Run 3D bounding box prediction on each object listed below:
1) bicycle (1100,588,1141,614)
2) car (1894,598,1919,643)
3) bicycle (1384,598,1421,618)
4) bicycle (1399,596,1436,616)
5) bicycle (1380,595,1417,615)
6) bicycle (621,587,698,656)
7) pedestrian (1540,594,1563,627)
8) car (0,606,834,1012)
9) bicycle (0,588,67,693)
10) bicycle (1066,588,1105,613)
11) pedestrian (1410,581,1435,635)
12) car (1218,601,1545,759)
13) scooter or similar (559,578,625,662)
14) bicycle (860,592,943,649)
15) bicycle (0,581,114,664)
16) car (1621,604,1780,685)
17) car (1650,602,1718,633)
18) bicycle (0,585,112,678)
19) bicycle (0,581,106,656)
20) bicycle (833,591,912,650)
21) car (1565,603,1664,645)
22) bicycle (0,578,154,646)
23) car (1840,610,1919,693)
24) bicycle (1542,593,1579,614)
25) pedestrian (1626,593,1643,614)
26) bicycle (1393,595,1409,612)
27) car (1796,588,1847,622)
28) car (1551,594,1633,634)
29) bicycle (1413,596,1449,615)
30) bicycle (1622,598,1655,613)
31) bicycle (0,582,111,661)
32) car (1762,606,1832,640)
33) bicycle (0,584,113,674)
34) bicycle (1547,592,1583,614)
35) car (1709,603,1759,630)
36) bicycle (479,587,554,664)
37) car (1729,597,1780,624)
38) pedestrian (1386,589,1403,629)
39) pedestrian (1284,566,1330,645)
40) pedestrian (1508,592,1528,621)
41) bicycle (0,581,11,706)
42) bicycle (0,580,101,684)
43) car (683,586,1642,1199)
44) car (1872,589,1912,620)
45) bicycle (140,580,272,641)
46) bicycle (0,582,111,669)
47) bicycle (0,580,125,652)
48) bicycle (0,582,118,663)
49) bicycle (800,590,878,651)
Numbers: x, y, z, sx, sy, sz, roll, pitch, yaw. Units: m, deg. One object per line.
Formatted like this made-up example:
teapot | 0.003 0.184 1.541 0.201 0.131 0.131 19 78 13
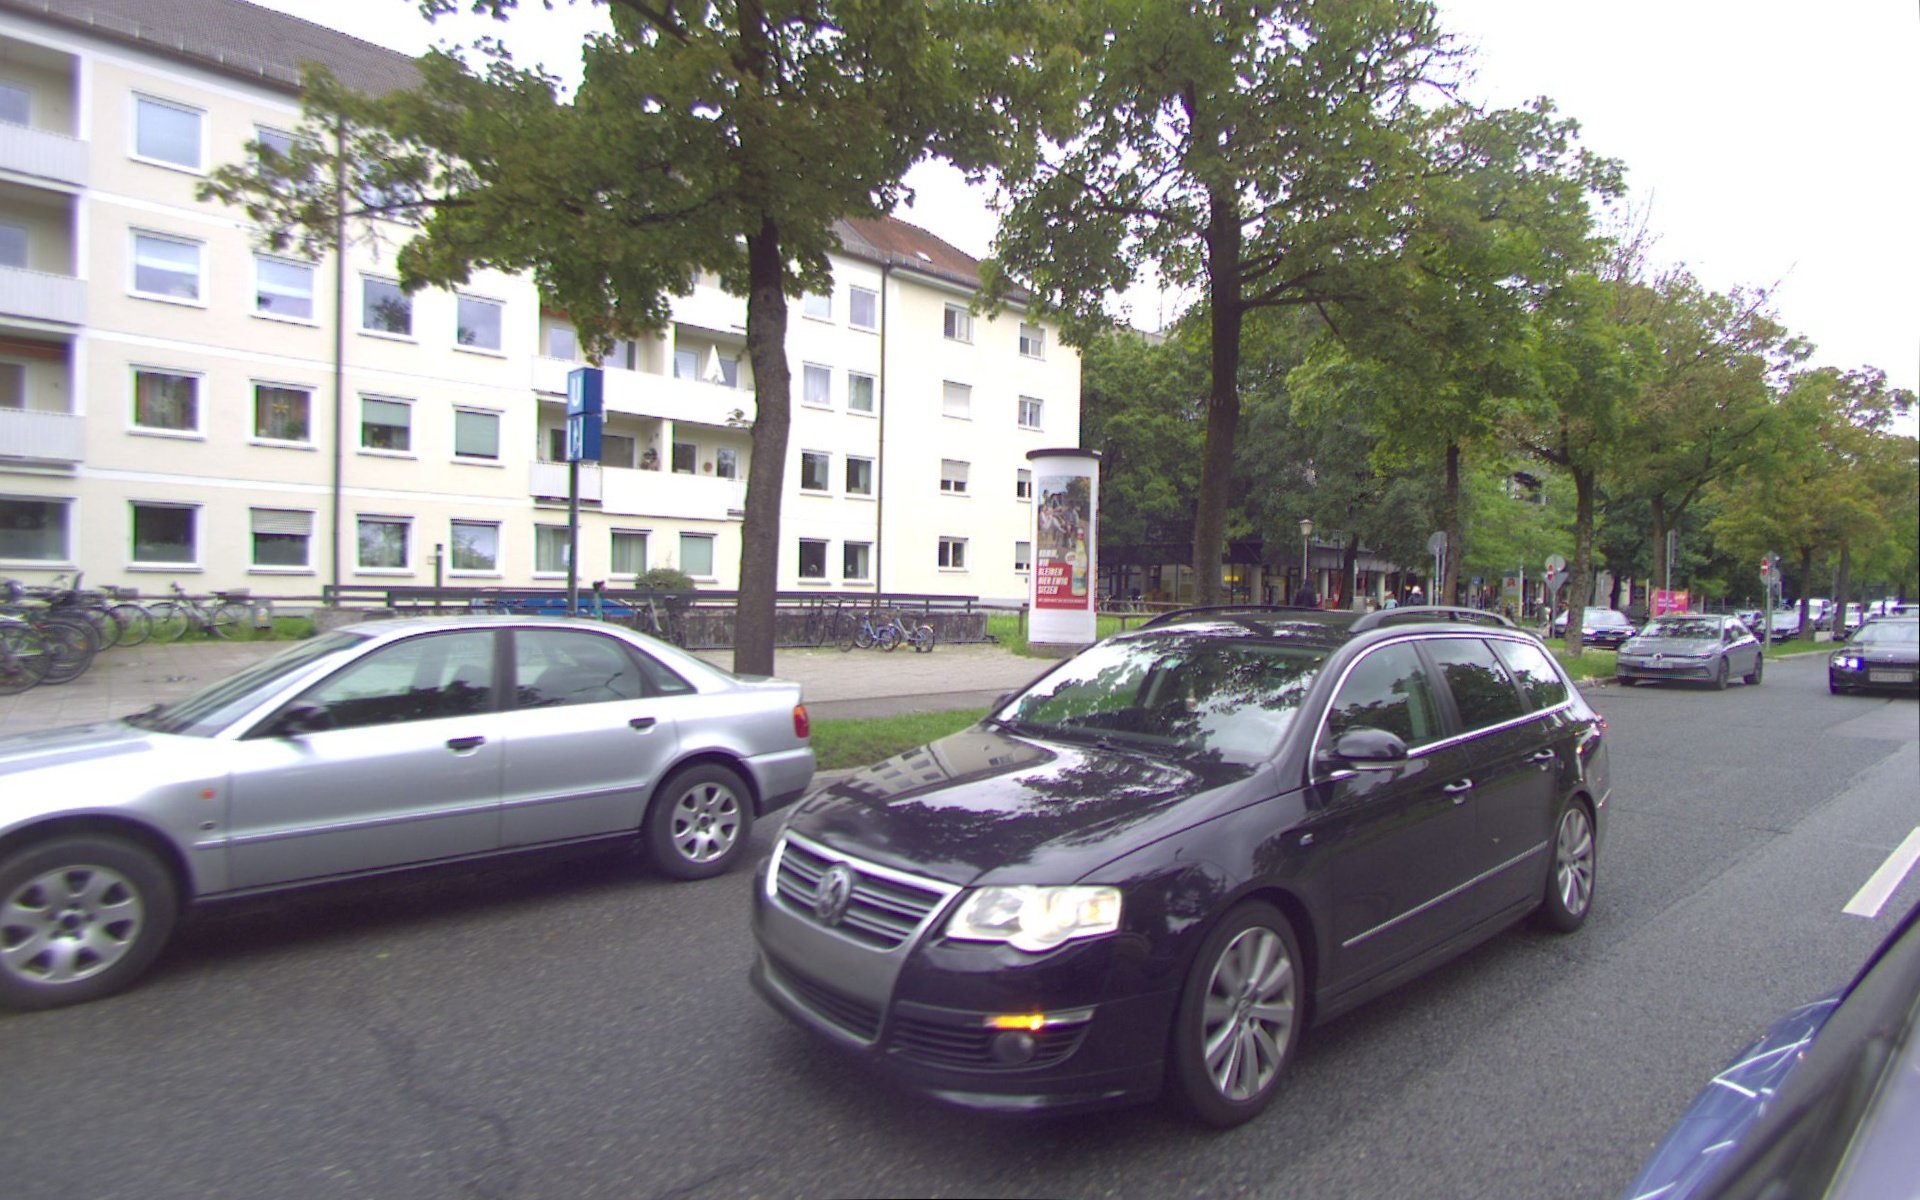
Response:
bicycle | 6.461 0.030 40.870 0.448 0.983 1.693 1 1 -44
car | 43.735 0.923 45.592 4.846 1.952 1.884 1 -1 -41
bicycle | 26.612 0.474 60.879 0.447 1.134 2.079 1 1 -40
bicycle | 28.110 0.355 62.177 0.447 1.134 2.079 1 1 -40
bicycle | 26.900 0.300 62.135 0.447 1.134 2.079 1 1 -40
bicycle | -5.046 0.338 16.926 0.425 1.041 1.880 1 2 -43
pedestrian | 30.073 0.532 51.427 0.738 1.614 0.660 1 0 -22
car | -2.810 0.742 5.150 4.173 1.403 1.637 1 -1 -44
bicycle | -10.080 0.397 10.004 1.850 1.041 0.432 1 1 -40
bicycle | 5.215 0.012 42.148 0.448 0.983 1.693 1 1 -44
pedestrian | 15.146 0.260 33.147 0.631 1.752 0.599 0 0 10
car | 4.914 0.774 11.549 4.101 1.484 1.754 1 -1 -40
scooter or similar | -5.618 0.275 15.510 0.352 1.215 1.388 2 1 7
bicycle | -1.178 0.384 20.074 1.877 1.041 0.426 3 2 42
bicycle | -12.169 0.288 13.104 1.850 1.041 0.432 1 1 -40
car | 15.144 0.841 20.639 4.041 1.484 1.685 1 -1 -40
car | 39.137 0.921 54.651 4.519 1.550 1.826 1 1 -39
bicycle | -11.033 0.357 11.704 1.850 1.041 0.432 1 1 -40
bicycle | -13.332 0.255 14.349 1.850 1.041 0.432 1 1 -40
bicycle | -1.741 0.377 19.892 1.878 1.041 0.426 3 2 44
car | 23.492 0.819 36.276 4.273 1.397 1.725 0 0 -39
bicycle | -14.209 0.196 16.339 1.850 1.041 0.432 1 1 -40
car | 18.154 0.917 19.124 4.385 1.431 1.761 1 -1 -42
bicycle | 46.032 0.248 77.597 0.638 1.551 2.312 1 1 -40
pedestrian | 57.430 0.291 86.137 0.754 1.719 0.876 0 2 -26
bicycle | 30.433 0.256 69.812 1.529 1.134 0.454 1 0 -45
car | 69.556 0.408 81.702 5.754 2.560 2.267 1 1 -41
car | 28.579 0.607 45.731 4.121 1.654 1.827 1 1 -39
bicycle | 29.750 0.322 63.980 0.447 1.134 2.079 1 1 -40
bicycle | 60.421 0.477 90.123 0.637 1.318 2.313 1 1 -39
bicycle | -12.828 0.288 13.833 1.850 1.041 0.432 1 1 -40
car | 38.299 1.025 46.255 4.609 1.450 1.730 0 -1 -41
bicycle | -11.374 0.339 12.136 1.850 1.041 0.432 1 1 -40
bicycle | 47.216 0.198 78.977 0.638 1.643 2.312 1 1 -40
car | 48.298 1.041 63.100 4.526 1.550 1.823 2 1 -45
bicycle | -6.729 0.358 15.303 0.425 1.041 1.880 1 2 -43
car | 52.440 0.663 66.777 4.422 1.654 1.825 1 1 -42
pedestrian | 17.709 0.362 41.215 0.573 1.594 0.776 0 0 19
pedestrian | 8.074 0.127 23.543 0.640 1.771 0.835 4 2 45
pedestrian | 30.605 0.367 55.509 0.618 1.561 0.662 2 2 -12
bicycle | -9.749 0.388 9.009 1.850 1.147 0.432 1 1 -40
bicycle | -10.620 0.340 11.059 1.850 1.115 0.432 1 1 -40
car | 1.233 0.715 4.339 4.364 1.451 1.734 1 -1 -41
car | 82.851 0.438 89.970 5.901 2.691 1.976 1 -1 -41
bicycle | -13.358 0.184 17.972 1.850 1.041 0.432 1 1 -40
bicycle | -11.706 0.311 12.490 1.850 1.041 0.432 1 1 -40
bicycle | -13.763 0.235 15.203 1.850 1.041 0.432 1 1 -40
bicycle | -12.449 0.292 13.507 1.850 1.041 0.432 1 1 -40
bicycle | -2.327 0.370 19.269 0.425 1.041 1.880 1 2 -43
